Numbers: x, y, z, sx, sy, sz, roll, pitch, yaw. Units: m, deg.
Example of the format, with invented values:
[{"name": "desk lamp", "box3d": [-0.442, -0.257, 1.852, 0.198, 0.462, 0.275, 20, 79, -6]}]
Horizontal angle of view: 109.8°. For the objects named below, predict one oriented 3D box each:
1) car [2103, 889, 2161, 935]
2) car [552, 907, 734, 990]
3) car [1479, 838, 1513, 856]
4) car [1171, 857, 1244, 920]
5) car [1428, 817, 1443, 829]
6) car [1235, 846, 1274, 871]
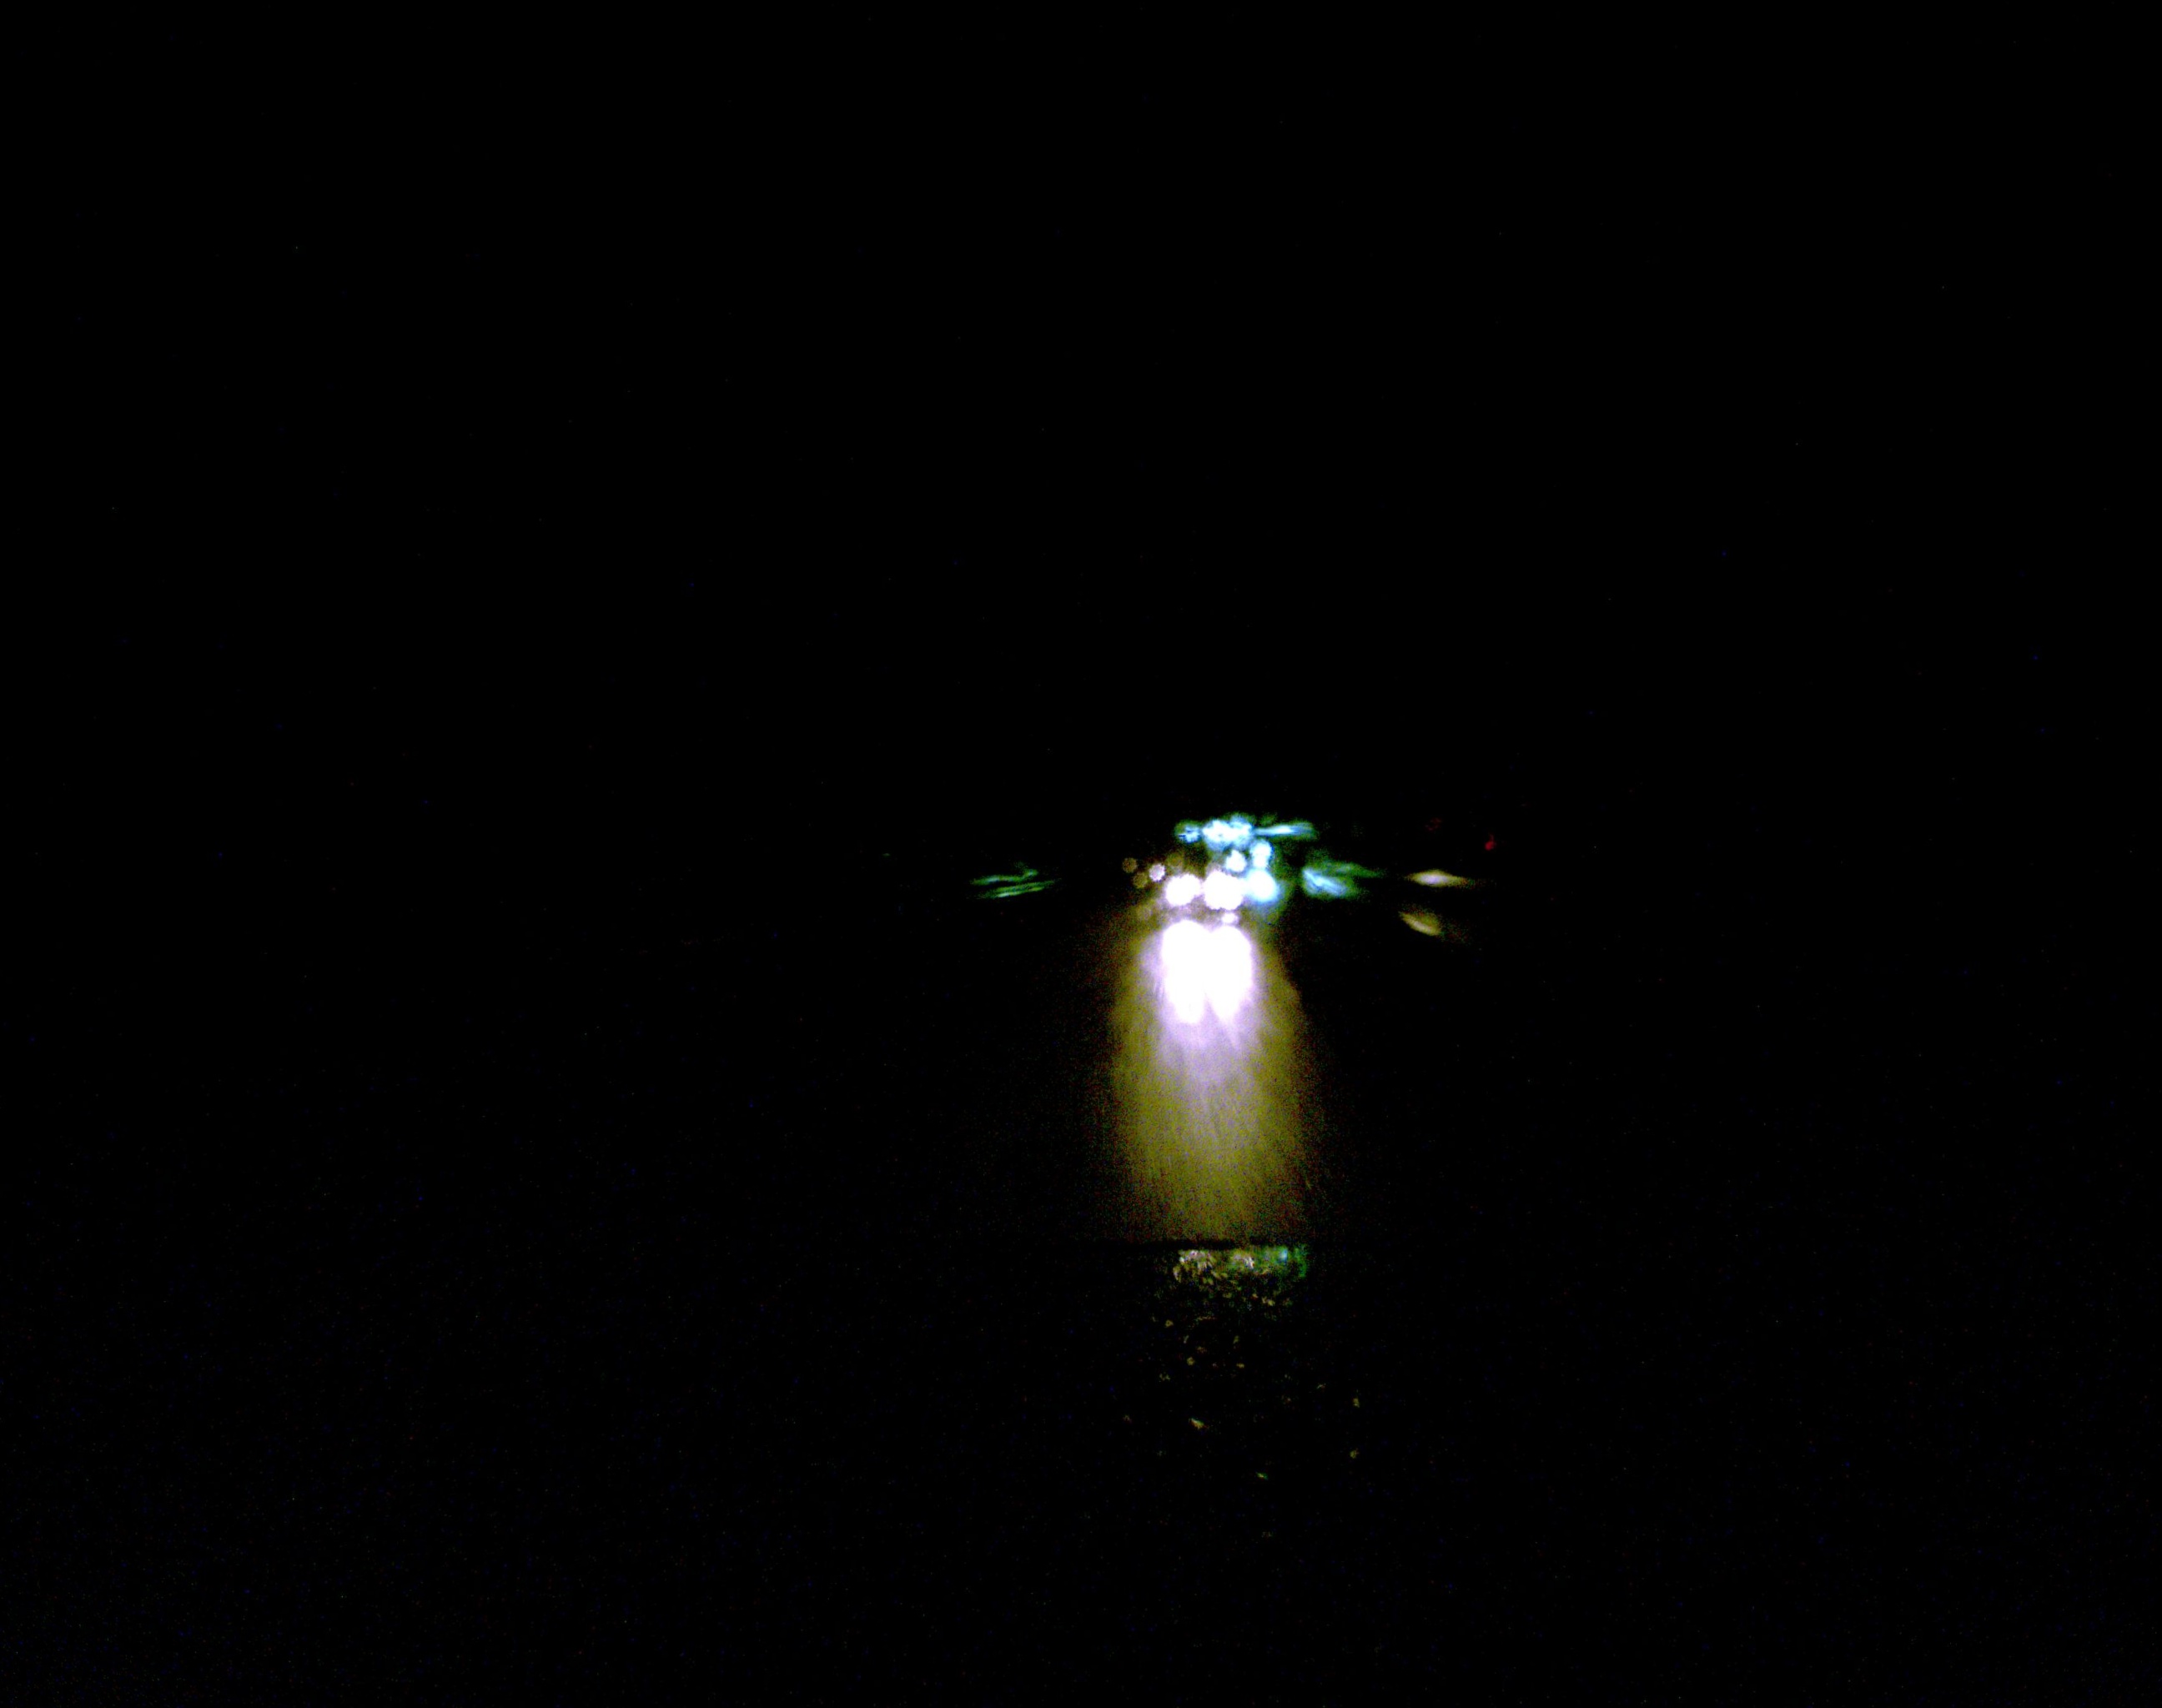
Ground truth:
[{"name": "car", "box3d": [37.879, 2.040, 25.853, 1.506, 1.420, 3.424, -2, 2, -21]}, {"name": "car", "box3d": [-12.572, 2.679, 22.099, 1.738, 1.674, 4.126, -6, 1, 29]}, {"name": "car", "box3d": [40.328, -0.698, 73.886, 1.743, 1.418, 4.100, -3, 4, 11]}, {"name": "car", "box3d": [3.414, 0.830, 20.112, 1.685, 1.442, 3.645, 0, 1, 13]}, {"name": "car", "box3d": [54.458, -4.760, 116.782, 1.760, 1.483, 4.048, -1, 5, 21]}, {"name": "car", "box3d": [9.946, 0.220, 43.373, 1.758, 1.304, 4.090, -1, 1, 19]}]
